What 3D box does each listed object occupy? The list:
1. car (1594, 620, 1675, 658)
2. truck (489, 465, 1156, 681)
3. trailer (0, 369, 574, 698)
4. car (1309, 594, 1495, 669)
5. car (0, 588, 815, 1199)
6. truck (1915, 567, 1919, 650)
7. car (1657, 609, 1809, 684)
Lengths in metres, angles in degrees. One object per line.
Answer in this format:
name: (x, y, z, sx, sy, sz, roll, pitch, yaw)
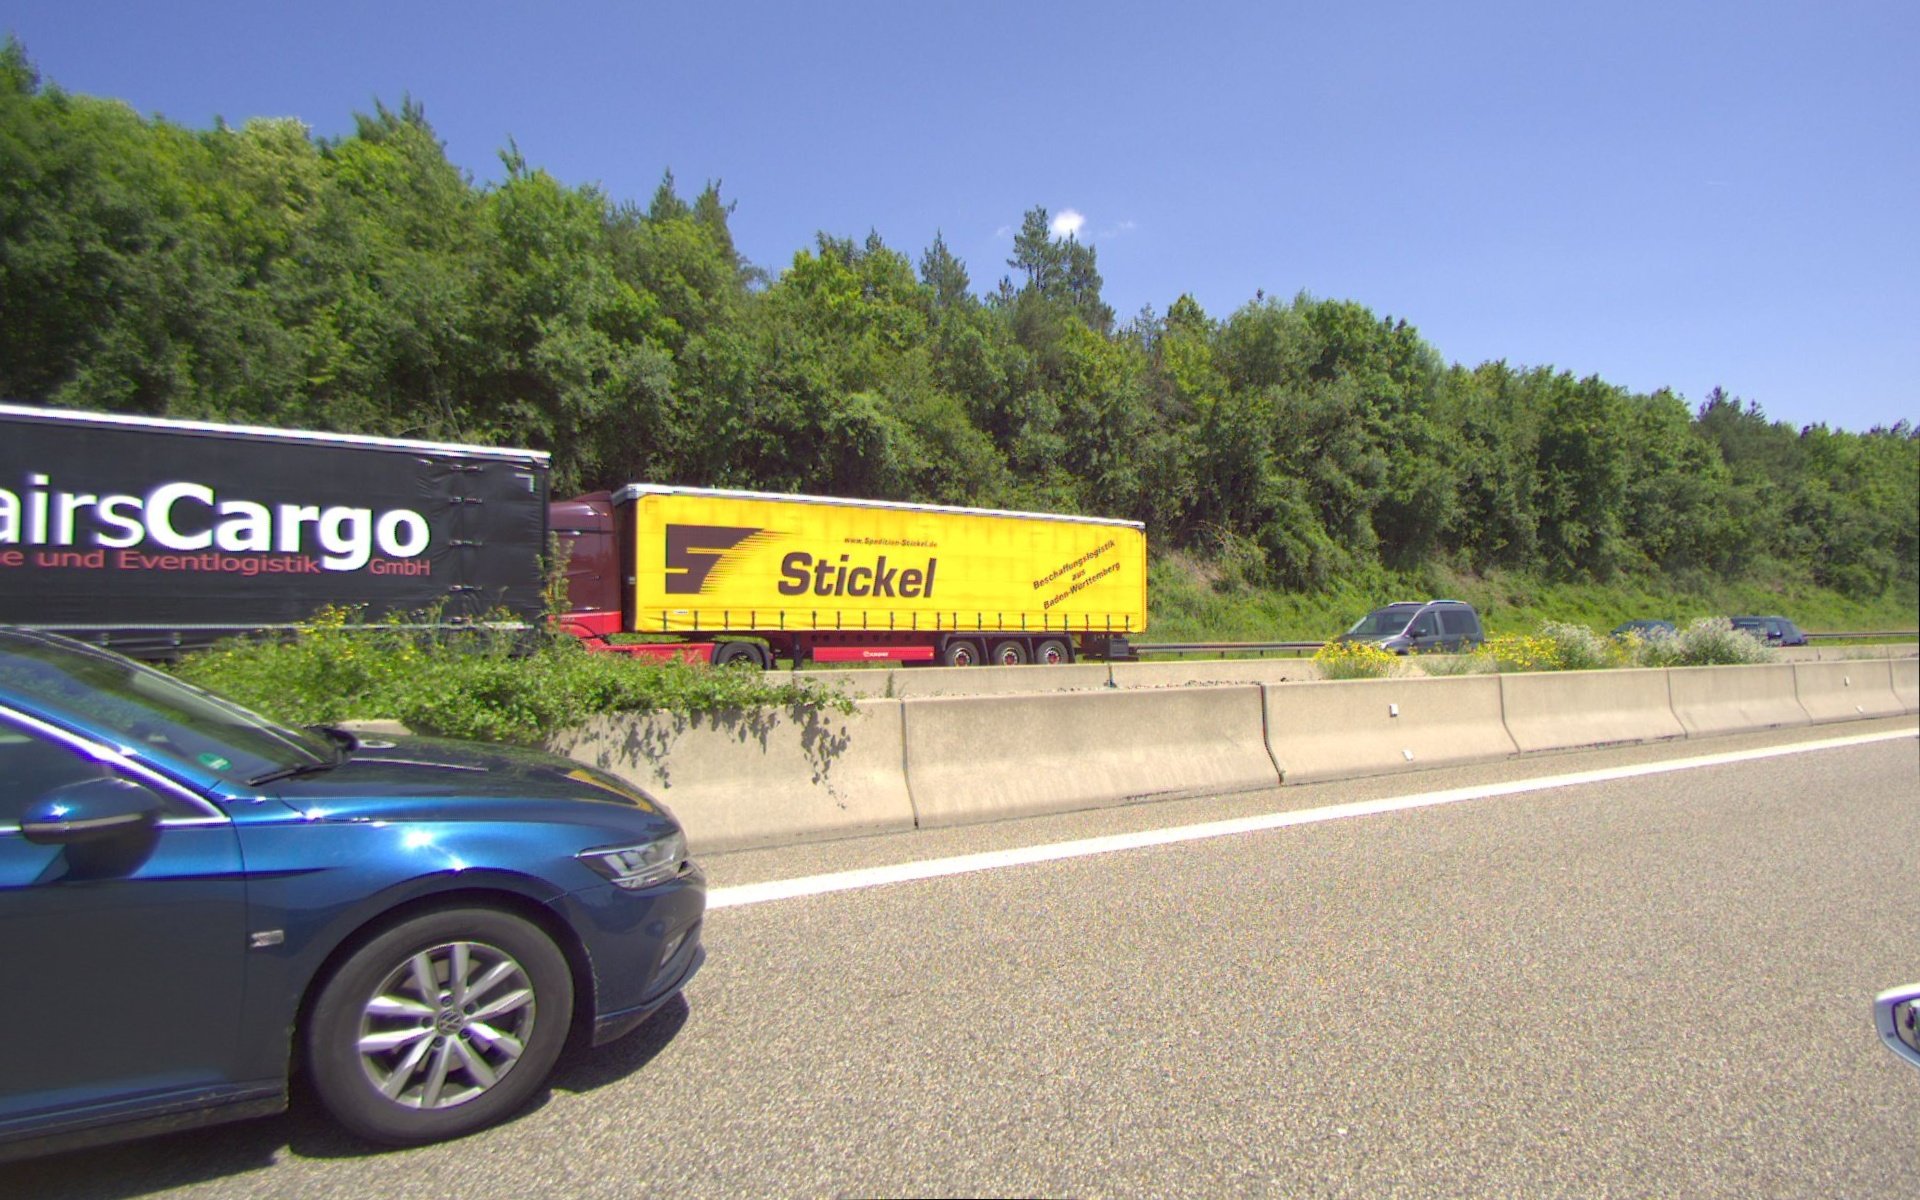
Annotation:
car: (28.557, 1.629, 42.522, 3.664, 1.528, 1.403, 1, 0, -30)
truck: (-2.351, -0.241, 24.266, 16.081, 4.035, 3.022, 2, -2, -31)
trailer: (-12.655, -0.767, 13.390, 13.727, 4.025, 2.893, 2, -3, -31)
car: (10.154, 0.756, 23.010, 4.370, 1.578, 1.677, 2, -3, -30)
car: (-2.897, 0.721, 2.741, 4.674, 1.446, 1.724, 1, -3, -30)
truck: (56.837, 0.514, 55.725, 7.243, 4.587, 3.706, 2, -3, -31)
car: (18.285, 1.115, 23.734, 3.502, 1.648, 1.635, 2, -3, -30)
